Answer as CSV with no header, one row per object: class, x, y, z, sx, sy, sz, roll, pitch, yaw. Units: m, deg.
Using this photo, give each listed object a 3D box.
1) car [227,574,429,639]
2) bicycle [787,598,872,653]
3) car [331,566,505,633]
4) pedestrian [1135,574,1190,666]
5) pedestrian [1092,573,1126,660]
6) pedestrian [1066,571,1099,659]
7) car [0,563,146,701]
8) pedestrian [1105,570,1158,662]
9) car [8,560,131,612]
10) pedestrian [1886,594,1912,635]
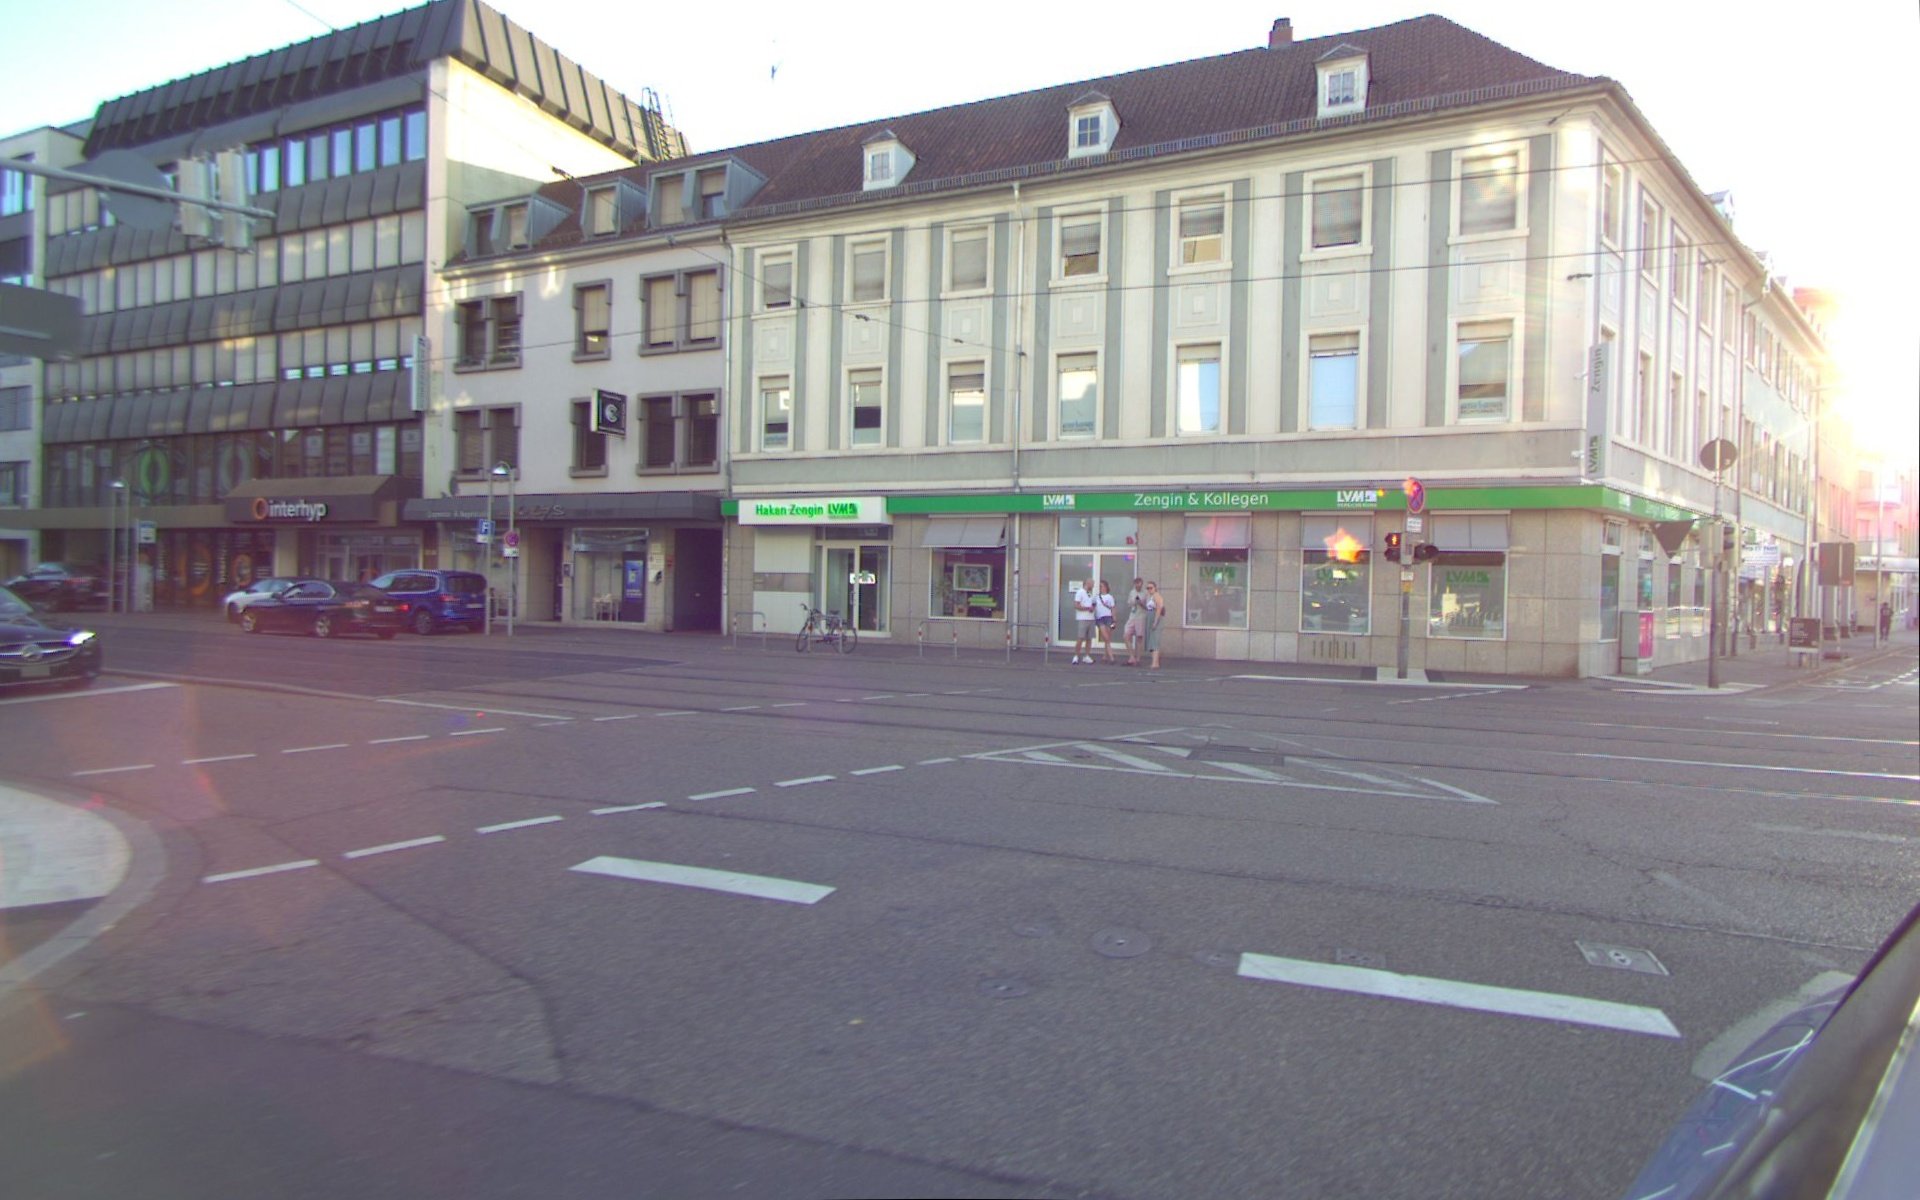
car,-15.615,0.119,25.035,4.455,1.438,1.986,1,1,21
bicycle,-2.950,0.551,22.790,1.856,1.199,0.689,0,0,29
car,-15.151,-0.049,28.283,4.461,1.724,1.984,1,0,24
pedestrian,4.058,0.380,20.265,0.774,1.794,0.895,0,0,36
pedestrian,3.129,0.341,21.313,0.672,1.794,0.628,0,0,7
pedestrian,2.571,0.308,21.278,0.675,1.794,0.764,0,0,7
car,-12.829,0.310,12.947,4.431,1.487,1.967,2,3,24
pedestrian,3.543,0.320,20.857,0.774,1.835,0.895,0,0,36
car,-31.111,-0.496,35.368,3.711,1.652,1.797,2,-2,24
pedestrian,43.709,0.661,47.094,0.668,1.806,0.714,3,3,31
